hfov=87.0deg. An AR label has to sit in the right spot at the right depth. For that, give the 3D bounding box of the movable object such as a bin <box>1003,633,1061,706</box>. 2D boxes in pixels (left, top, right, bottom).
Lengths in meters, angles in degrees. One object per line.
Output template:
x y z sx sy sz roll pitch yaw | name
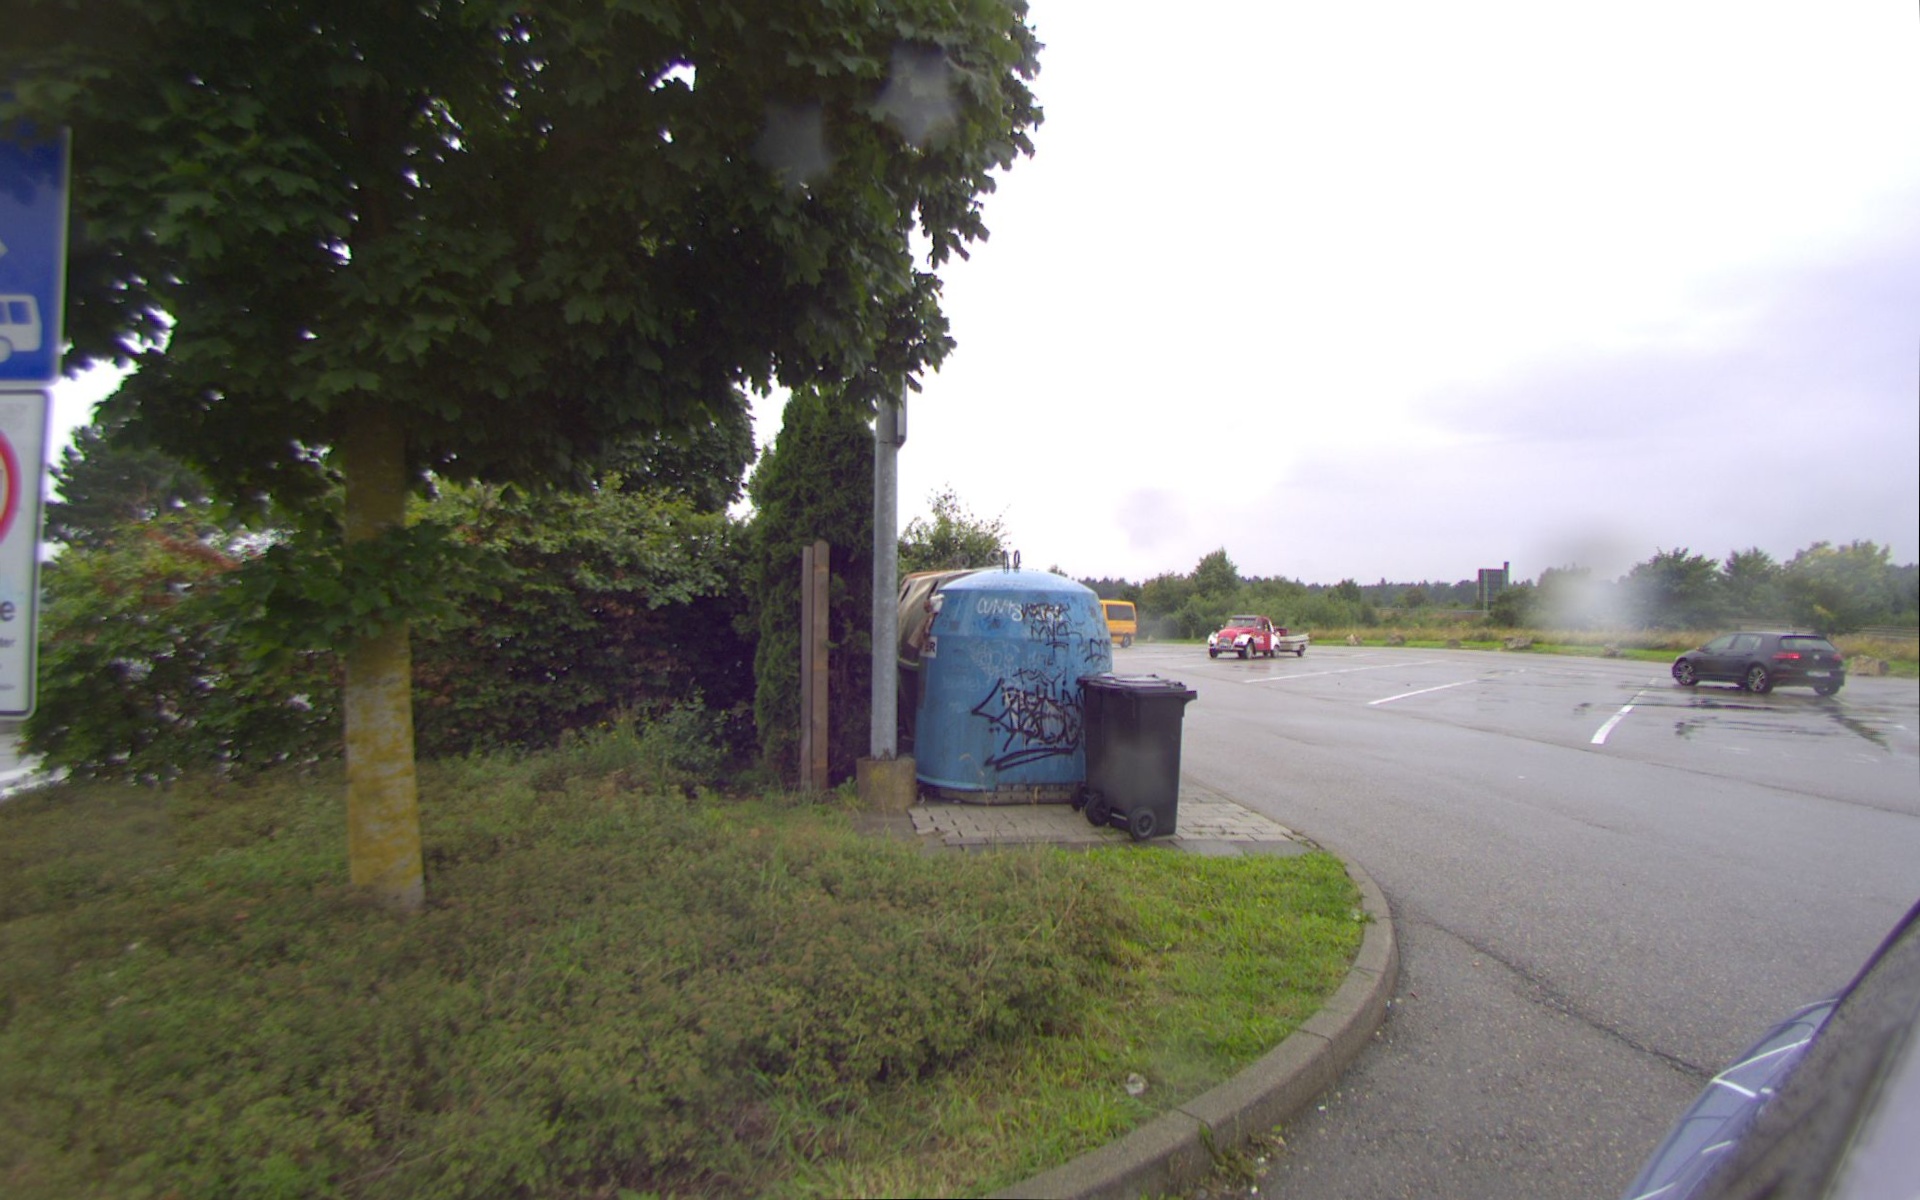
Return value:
0.976 0.922 13.698 0.623 0.932 0.552 1 -1 24 | movable object such as a bin

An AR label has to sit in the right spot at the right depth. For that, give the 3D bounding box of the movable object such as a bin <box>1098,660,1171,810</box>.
1.187 0.891 6.844 0.443 0.929 0.487 1 -1 13 | movable object such as a bin

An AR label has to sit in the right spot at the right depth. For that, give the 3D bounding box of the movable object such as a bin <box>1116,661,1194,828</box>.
1.218 0.874 6.289 0.443 0.950 0.487 1 -1 13 | movable object such as a bin

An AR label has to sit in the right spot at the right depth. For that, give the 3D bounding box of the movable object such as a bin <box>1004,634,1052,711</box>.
0.868 0.908 12.845 0.490 0.932 0.413 1 -1 24 | movable object such as a bin

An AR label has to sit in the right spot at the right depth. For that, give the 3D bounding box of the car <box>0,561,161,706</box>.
-16.044 0.488 16.248 4.671 2.216 2.003 1 0 -7 | car

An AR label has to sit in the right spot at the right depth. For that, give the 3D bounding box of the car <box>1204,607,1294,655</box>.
10.263 1.083 35.795 1.543 1.575 3.997 0 -1 40 | car

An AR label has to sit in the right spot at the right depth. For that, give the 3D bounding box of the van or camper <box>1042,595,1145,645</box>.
6.562 0.959 49.072 2.123 2.275 6.330 1 -1 37 | van or camper

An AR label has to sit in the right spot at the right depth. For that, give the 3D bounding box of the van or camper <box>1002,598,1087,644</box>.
5.530 1.354 65.394 1.989 2.749 6.972 2 0 37 | van or camper

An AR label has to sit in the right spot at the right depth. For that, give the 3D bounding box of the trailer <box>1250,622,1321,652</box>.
12.413 1.405 38.576 1.582 1.081 2.985 0 -2 40 | trailer

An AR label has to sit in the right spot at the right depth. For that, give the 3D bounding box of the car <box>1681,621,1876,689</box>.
19.908 1.282 24.871 1.748 1.452 4.071 1 -1 6 | car
